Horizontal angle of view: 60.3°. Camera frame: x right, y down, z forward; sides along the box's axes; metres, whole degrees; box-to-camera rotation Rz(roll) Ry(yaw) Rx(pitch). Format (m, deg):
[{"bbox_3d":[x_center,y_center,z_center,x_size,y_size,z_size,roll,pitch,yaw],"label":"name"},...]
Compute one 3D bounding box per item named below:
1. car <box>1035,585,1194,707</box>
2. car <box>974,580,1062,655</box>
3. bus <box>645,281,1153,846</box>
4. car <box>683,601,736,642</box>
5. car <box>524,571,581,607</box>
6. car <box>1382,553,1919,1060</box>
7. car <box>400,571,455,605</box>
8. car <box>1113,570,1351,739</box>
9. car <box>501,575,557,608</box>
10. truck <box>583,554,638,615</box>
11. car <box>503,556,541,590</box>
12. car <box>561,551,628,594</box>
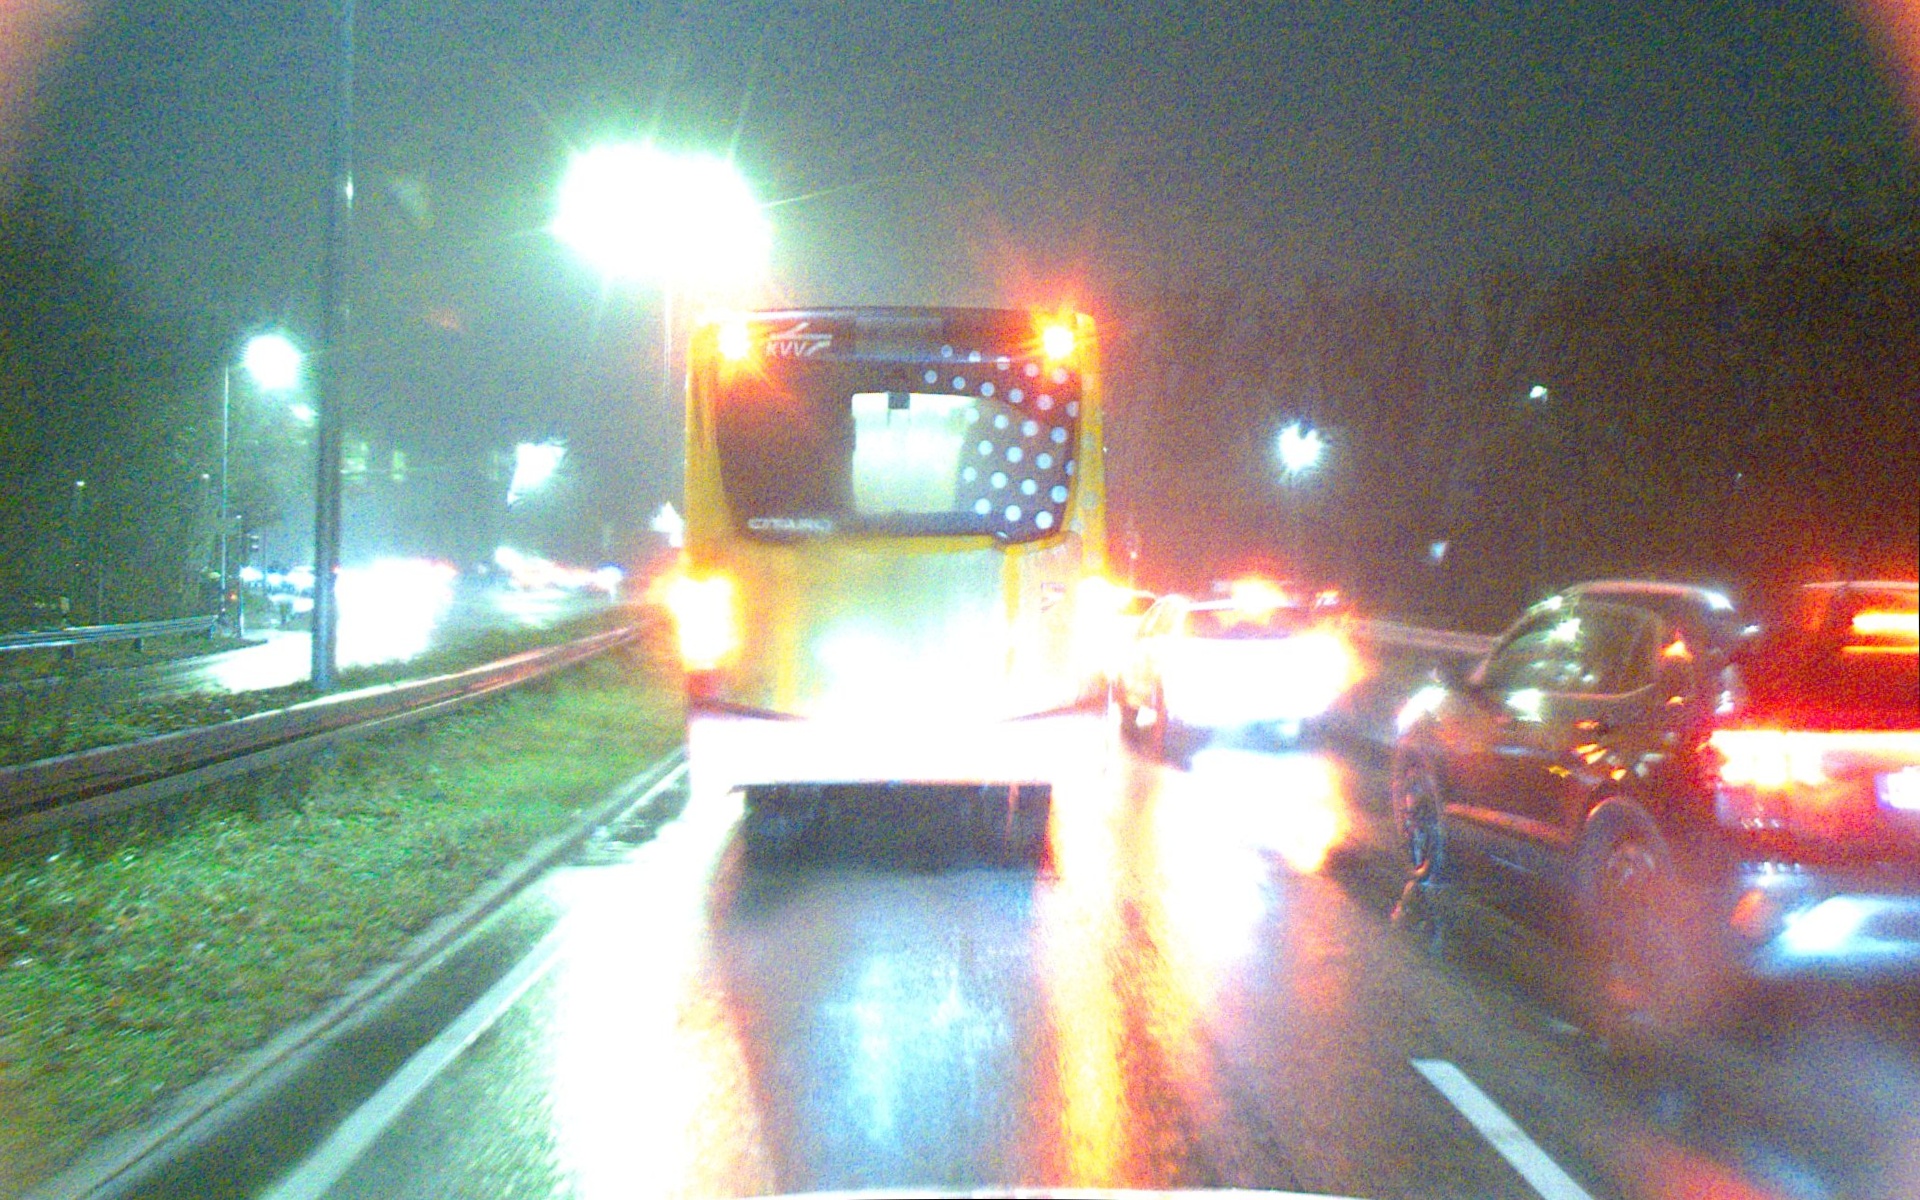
[{"bbox_3d":[2.143,0.604,23.914,1.783,1.618,3.775,0,0,-3],"label":"car"},{"bbox_3d":[1.261,0.364,37.598,1.743,1.570,3.874,2,0,-1],"label":"car"},{"bbox_3d":[-0.428,-0.209,13.561,2.758,3.077,8.685,1,0,-1],"label":"bus"},{"bbox_3d":[-9.631,0.798,63.610,1.956,1.512,3.992,0,0,-9],"label":"car"},{"bbox_3d":[-23.945,-0.638,97.155,1.977,2.049,3.951,0,0,-35],"label":"car"},{"bbox_3d":[3.259,0.667,7.163,1.704,1.592,3.775,2,0,-3],"label":"car"},{"bbox_3d":[-33.487,-0.739,103.986,2.194,2.049,3.949,0,0,-36],"label":"car"},{"bbox_3d":[2.799,0.518,17.811,1.783,1.618,3.775,0,0,-3],"label":"car"},{"bbox_3d":[-23.668,-0.476,90.736,1.738,1.659,3.576,2,-1,-37],"label":"car"},{"bbox_3d":[-15.473,-0.732,73.111,1.828,2.434,4.754,-1,3,-19],"label":"truck"},{"bbox_3d":[-27.841,-1.710,105.244,2.084,2.049,3.987,2,-1,-12],"label":"car"},{"bbox_3d":[-18.621,-1.390,84.084,1.976,2.049,3.953,2,-1,-34],"label":"car"}]
